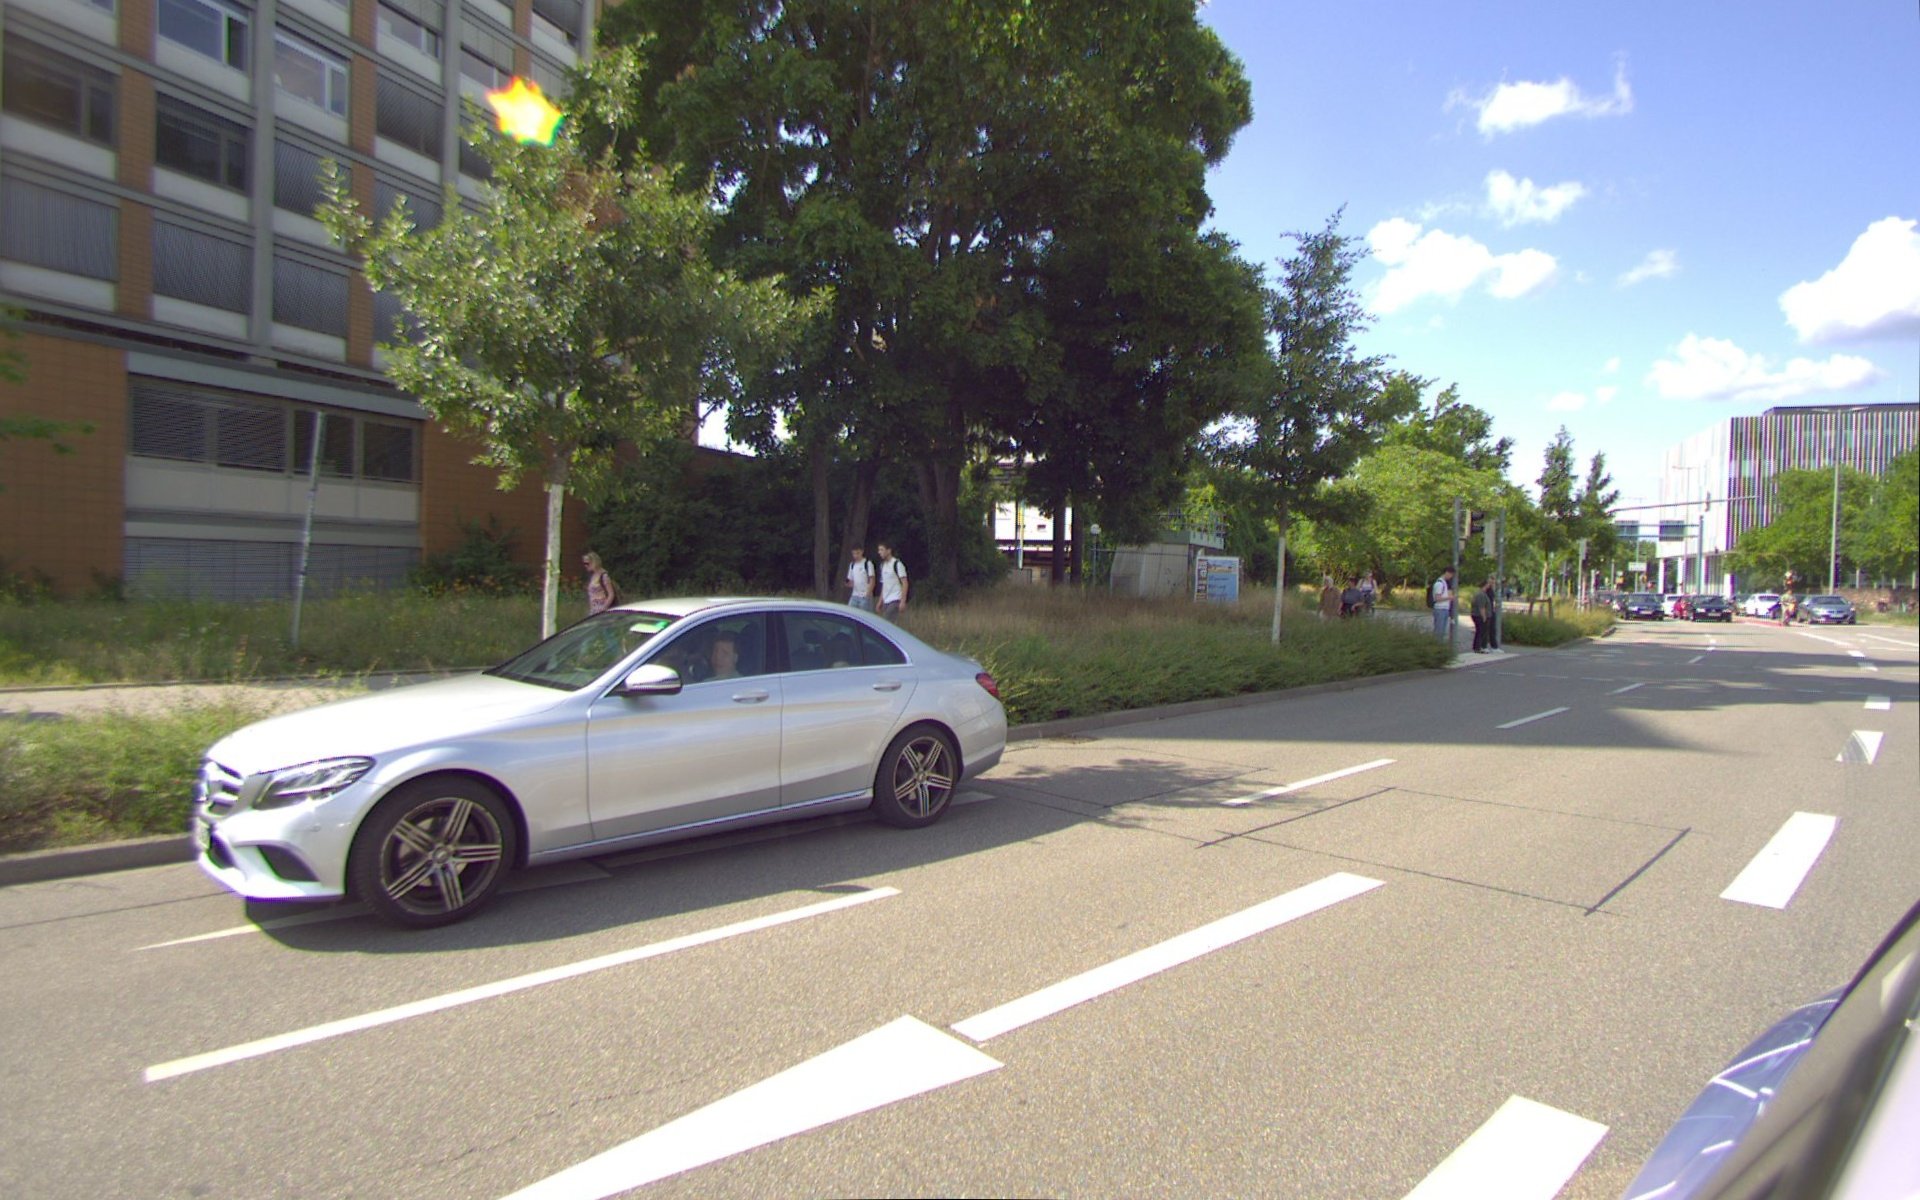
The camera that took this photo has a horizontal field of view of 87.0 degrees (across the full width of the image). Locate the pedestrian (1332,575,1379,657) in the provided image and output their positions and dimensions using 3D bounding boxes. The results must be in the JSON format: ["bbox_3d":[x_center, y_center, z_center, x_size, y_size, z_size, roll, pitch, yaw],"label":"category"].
[{"bbox_3d":[8.768,0.343,22.438,0.765,1.757,0.708,0,0,41],"label":"pedestrian"}]

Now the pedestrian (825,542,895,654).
[{"bbox_3d":[-1.590,-0.046,16.162,0.614,1.720,0.876,5,4,44],"label":"pedestrian"}]

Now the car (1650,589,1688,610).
[{"bbox_3d":[44.743,-0.036,63.848,1.898,1.148,4.052,1,3,35],"label":"car"}]

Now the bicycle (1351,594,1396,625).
[{"bbox_3d":[12.739,0.274,31.168,0.647,0.892,1.793,2,2,45],"label":"bicycle"}]

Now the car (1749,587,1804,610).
[{"bbox_3d":[50.502,-0.127,62.677,1.761,1.371,3.966,0,1,25],"label":"car"}]

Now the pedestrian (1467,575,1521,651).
[{"bbox_3d":[12.658,0.292,24.003,0.755,1.757,0.926,0,0,-43],"label":"pedestrian"}]

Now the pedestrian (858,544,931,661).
[{"bbox_3d":[-1.005,0.016,15.563,0.614,1.720,0.876,5,4,44],"label":"pedestrian"}]

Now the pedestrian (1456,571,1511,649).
[{"bbox_3d":[12.124,0.228,23.455,0.755,1.757,0.926,0,0,-43],"label":"pedestrian"}]

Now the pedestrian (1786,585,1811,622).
[{"bbox_3d":[39.331,0.162,47.478,0.731,1.736,0.868,0,0,27],"label":"pedestrian"}]

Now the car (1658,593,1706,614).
[{"bbox_3d":[41.432,0.176,58.122,1.582,1.148,3.597,1,1,25],"label":"car"}]

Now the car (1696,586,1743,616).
[{"bbox_3d":[39.815,0.050,53.096,1.815,1.481,3.950,1,1,35],"label":"car"}]

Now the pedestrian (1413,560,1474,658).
[{"bbox_3d":[10.341,0.183,21.635,0.755,2.039,0.963,0,0,-43],"label":"pedestrian"}]

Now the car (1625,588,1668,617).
[{"bbox_3d":[36.689,0.098,54.103,1.815,1.481,3.951,1,1,34],"label":"car"}]

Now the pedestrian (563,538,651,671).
[{"bbox_3d":[-4.582,0.042,13.152,0.614,1.642,0.876,5,4,44],"label":"pedestrian"}]

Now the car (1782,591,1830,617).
[{"bbox_3d":[47.075,0.181,56.363,1.722,1.351,3.742,0,1,35],"label":"car"}]

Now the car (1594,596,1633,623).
[{"bbox_3d":[39.227,0.549,60.736,1.815,1.481,3.950,1,1,35],"label":"car"}]

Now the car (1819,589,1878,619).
[{"bbox_3d":[43.784,0.177,49.966,1.990,1.393,4.210,1,1,39],"label":"car"}]

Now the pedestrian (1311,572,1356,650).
[{"bbox_3d":[8.574,0.244,23.215,0.765,1.757,0.708,0,0,41],"label":"pedestrian"}]

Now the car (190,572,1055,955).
[{"bbox_3d":[-1.705,0.594,6.211,4.678,1.473,1.933,-1,1,-43],"label":"car"}]
